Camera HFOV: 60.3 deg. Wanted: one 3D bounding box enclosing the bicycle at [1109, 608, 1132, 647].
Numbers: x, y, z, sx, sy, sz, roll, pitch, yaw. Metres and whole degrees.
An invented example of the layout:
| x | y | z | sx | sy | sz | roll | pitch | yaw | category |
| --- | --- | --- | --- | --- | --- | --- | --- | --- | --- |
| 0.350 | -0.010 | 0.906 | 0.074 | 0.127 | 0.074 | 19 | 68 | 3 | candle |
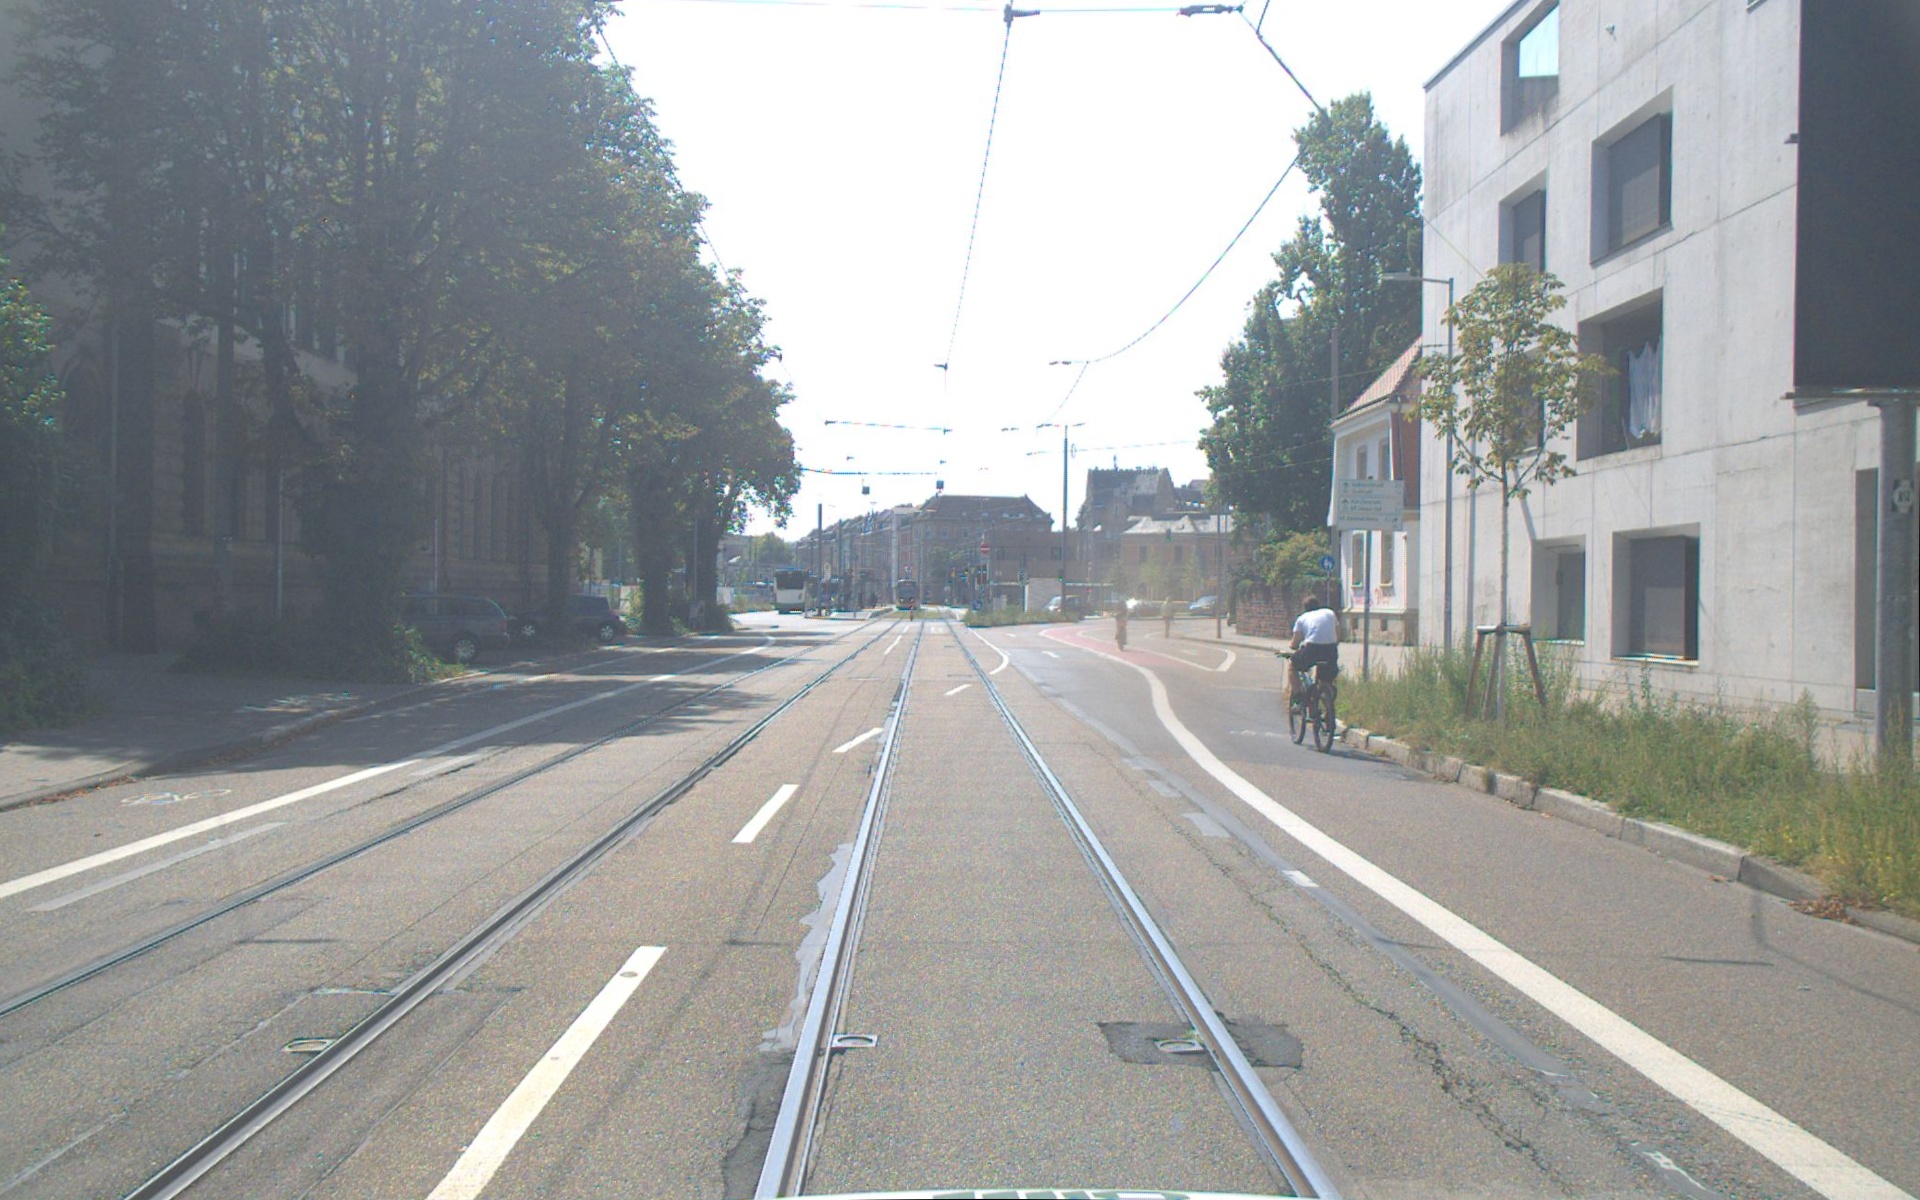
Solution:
| x | y | z | sx | sy | sz | roll | pitch | yaw | category |
| --- | --- | --- | --- | --- | --- | --- | --- | --- | --- |
| 4.998 | 0.858 | 51.566 | 0.591 | 1.183 | 1.811 | 1 | 0 | 1 | bicycle |

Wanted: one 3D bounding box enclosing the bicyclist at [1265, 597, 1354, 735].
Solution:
| x | y | z | sx | sy | sz | roll | pitch | yaw | category |
| --- | --- | --- | --- | --- | --- | --- | --- | --- | --- |
| 3.774 | 0.692 | 17.910 | 0.729 | 1.436 | 0.961 | 1 | 0 | -1 | bicyclist |

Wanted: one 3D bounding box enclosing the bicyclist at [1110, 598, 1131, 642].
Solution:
| x | y | z | sx | sy | sz | roll | pitch | yaw | category |
| --- | --- | --- | --- | --- | --- | --- | --- | --- | --- |
| 5.004 | 0.627 | 51.596 | 0.590 | 1.358 | 0.660 | 1 | 0 | 1 | bicyclist |

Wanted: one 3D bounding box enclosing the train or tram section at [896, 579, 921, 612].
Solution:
| x | y | z | sx | sy | sz | roll | pitch | yaw | category |
| --- | --- | --- | --- | --- | --- | --- | --- | --- | --- |
| -6.091 | -0.498 | 198.028 | 2.798 | 3.610 | 17.737 | 1 | 0 | -1 | train or tram section |

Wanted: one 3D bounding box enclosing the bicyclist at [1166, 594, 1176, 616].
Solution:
| x | y | z | sx | sy | sz | roll | pitch | yaw | category |
| --- | --- | --- | --- | --- | --- | --- | --- | --- | --- |
| 13.661 | 0.326 | 107.046 | 0.442 | 1.446 | 0.494 | 0 | 0 | 36 | bicyclist |

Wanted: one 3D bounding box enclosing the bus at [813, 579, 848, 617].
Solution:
| x | y | z | sx | sy | sz | roll | pitch | yaw | category |
| --- | --- | --- | --- | --- | --- | --- | --- | --- | --- |
| -13.496 | -0.174 | 172.621 | 2.654 | 3.792 | 10.419 | 1 | 0 | 0 | bus |

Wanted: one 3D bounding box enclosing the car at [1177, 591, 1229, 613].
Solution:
| x | y | z | sx | sy | sz | roll | pitch | yaw | category |
| --- | --- | --- | --- | --- | --- | --- | --- | --- | --- |
| 18.918 | 0.160 | 128.623 | 1.747 | 1.639 | 4.643 | 0 | 0 | 43 | car |

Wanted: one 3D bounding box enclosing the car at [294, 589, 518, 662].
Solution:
| x | y | z | sx | sy | sz | roll | pitch | yaw | category |
| --- | --- | --- | --- | --- | --- | --- | --- | --- | --- |
| -12.003 | 0.561 | 35.866 | 4.364 | 1.487 | 1.804 | 1 | 0 | -28 | car |

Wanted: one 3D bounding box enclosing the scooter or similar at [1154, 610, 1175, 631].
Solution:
| x | y | z | sx | sy | sz | roll | pitch | yaw | category |
| --- | --- | --- | --- | --- | --- | --- | --- | --- | --- |
| 9.767 | 0.975 | 79.058 | 0.756 | 0.943 | 1.621 | 1 | 0 | 16 | scooter or similar |

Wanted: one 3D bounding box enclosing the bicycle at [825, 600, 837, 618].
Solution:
| x | y | z | sx | sy | sz | roll | pitch | yaw | category |
| --- | --- | --- | --- | --- | --- | --- | --- | --- | --- |
| -8.914 | 0.621 | 114.283 | 0.594 | 1.244 | 1.706 | 1 | 0 | 3 | bicycle |

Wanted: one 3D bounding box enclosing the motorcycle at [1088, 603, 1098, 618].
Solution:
| x | y | z | sx | sy | sz | roll | pitch | yaw | category |
| --- | --- | --- | --- | --- | --- | --- | --- | --- | --- |
| 11.131 | 0.844 | 138.268 | 0.591 | 1.232 | 2.255 | 1 | 0 | 10 | motorcycle |

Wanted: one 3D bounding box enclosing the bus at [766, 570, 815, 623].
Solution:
| x | y | z | sx | sy | sz | roll | pitch | yaw | category |
| --- | --- | --- | --- | --- | --- | --- | --- | --- | --- |
| -12.978 | -0.245 | 127.526 | 2.898 | 3.841 | 10.593 | 1 | 0 | -2 | bus |

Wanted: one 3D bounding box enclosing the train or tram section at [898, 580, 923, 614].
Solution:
| x | y | z | sx | sy | sz | roll | pitch | yaw | category |
| --- | --- | --- | --- | --- | --- | --- | --- | --- | --- |
| -6.400 | -0.366 | 216.510 | 2.827 | 4.139 | 19.138 | 1 | 0 | -1 | train or tram section |

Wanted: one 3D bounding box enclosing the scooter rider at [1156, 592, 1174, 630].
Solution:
| x | y | z | sx | sy | sz | roll | pitch | yaw | category |
| --- | --- | --- | --- | --- | --- | --- | --- | --- | --- |
| 9.844 | 0.524 | 79.341 | 0.746 | 1.806 | 0.555 | 1 | 0 | 16 | scooter rider |

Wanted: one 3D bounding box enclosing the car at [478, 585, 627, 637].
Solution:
| x | y | z | sx | sy | sz | roll | pitch | yaw | category |
| --- | --- | --- | --- | --- | --- | --- | --- | --- | --- |
| -12.526 | 0.346 | 50.943 | 4.122 | 1.522 | 1.796 | 1 | 0 | -39 | car |

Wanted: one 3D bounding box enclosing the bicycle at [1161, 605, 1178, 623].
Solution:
| x | y | z | sx | sy | sz | roll | pitch | yaw | category |
| --- | --- | --- | --- | --- | --- | --- | --- | --- | --- |
| 13.542 | 0.912 | 106.869 | 0.436 | 1.136 | 1.441 | 0 | 0 | 36 | bicycle |

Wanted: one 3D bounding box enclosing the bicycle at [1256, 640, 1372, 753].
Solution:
| x | y | z | sx | sy | sz | roll | pitch | yaw | category |
| --- | --- | --- | --- | --- | --- | --- | --- | --- | --- |
| 3.777 | 1.002 | 17.824 | 0.724 | 1.067 | 2.233 | 1 | 0 | -1 | bicycle |
